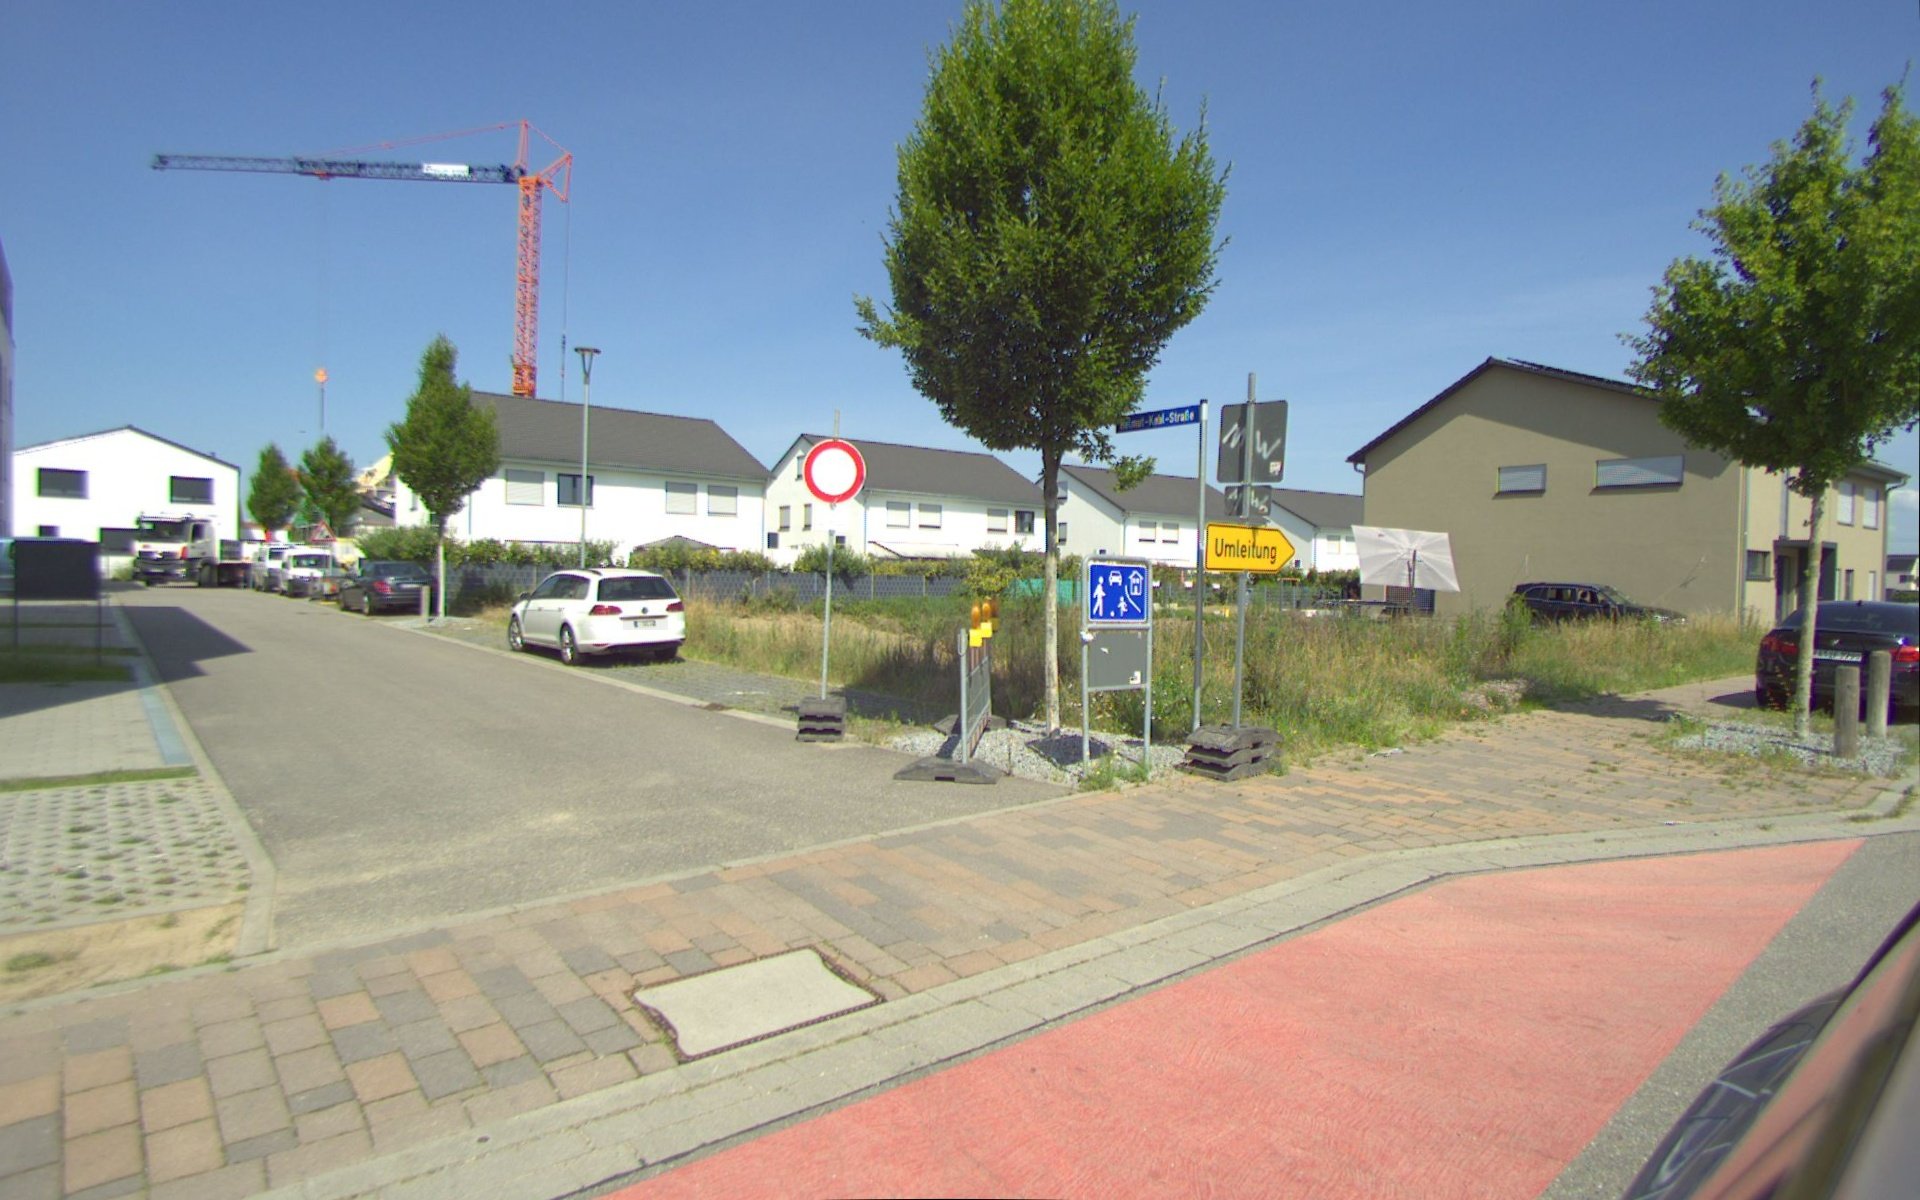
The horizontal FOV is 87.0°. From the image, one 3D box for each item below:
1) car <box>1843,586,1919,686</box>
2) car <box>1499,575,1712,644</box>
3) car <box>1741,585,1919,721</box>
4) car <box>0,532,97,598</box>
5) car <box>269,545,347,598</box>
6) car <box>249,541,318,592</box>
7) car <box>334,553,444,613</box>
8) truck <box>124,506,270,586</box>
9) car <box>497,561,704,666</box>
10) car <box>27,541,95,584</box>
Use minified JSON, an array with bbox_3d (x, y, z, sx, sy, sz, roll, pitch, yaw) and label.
[{"bbox_3d":[17.176,0.633,17.569,5.200,1.529,1.923,1,3,-40],"label":"car"},{"bbox_3d":[18.400,0.200,29.057,1.963,1.664,4.760,-1,3,-38],"label":"car"},{"bbox_3d":[12.604,0.651,13.741,5.045,1.487,1.924,1,3,-38],"label":"car"},{"bbox_3d":[-27.352,-1.021,28.830,4.095,1.832,1.882,-1,3,-37],"label":"car"},{"bbox_3d":[-24.083,-1.081,37.329,1.850,1.859,4.166,-1,3,-41],"label":"car"},{"bbox_3d":[-28.420,-1.431,42.462,1.850,2.004,4.605,-1,3,-41],"label":"car"},{"bbox_3d":[-15.770,-0.529,27.865,1.850,1.496,4.166,-1,3,-41],"label":"car"},{"bbox_3d":[-35.230,-2.468,47.084,2.252,3.433,6.983,-1,2,-8],"label":"truck"},{"bbox_3d":[-6.033,0.117,16.688,1.850,1.453,4.166,-1,3,-41],"label":"car"},{"bbox_3d":[-36.342,-1.536,41.005,1.804,1.685,3.916,-1,3,-38],"label":"car"}]
